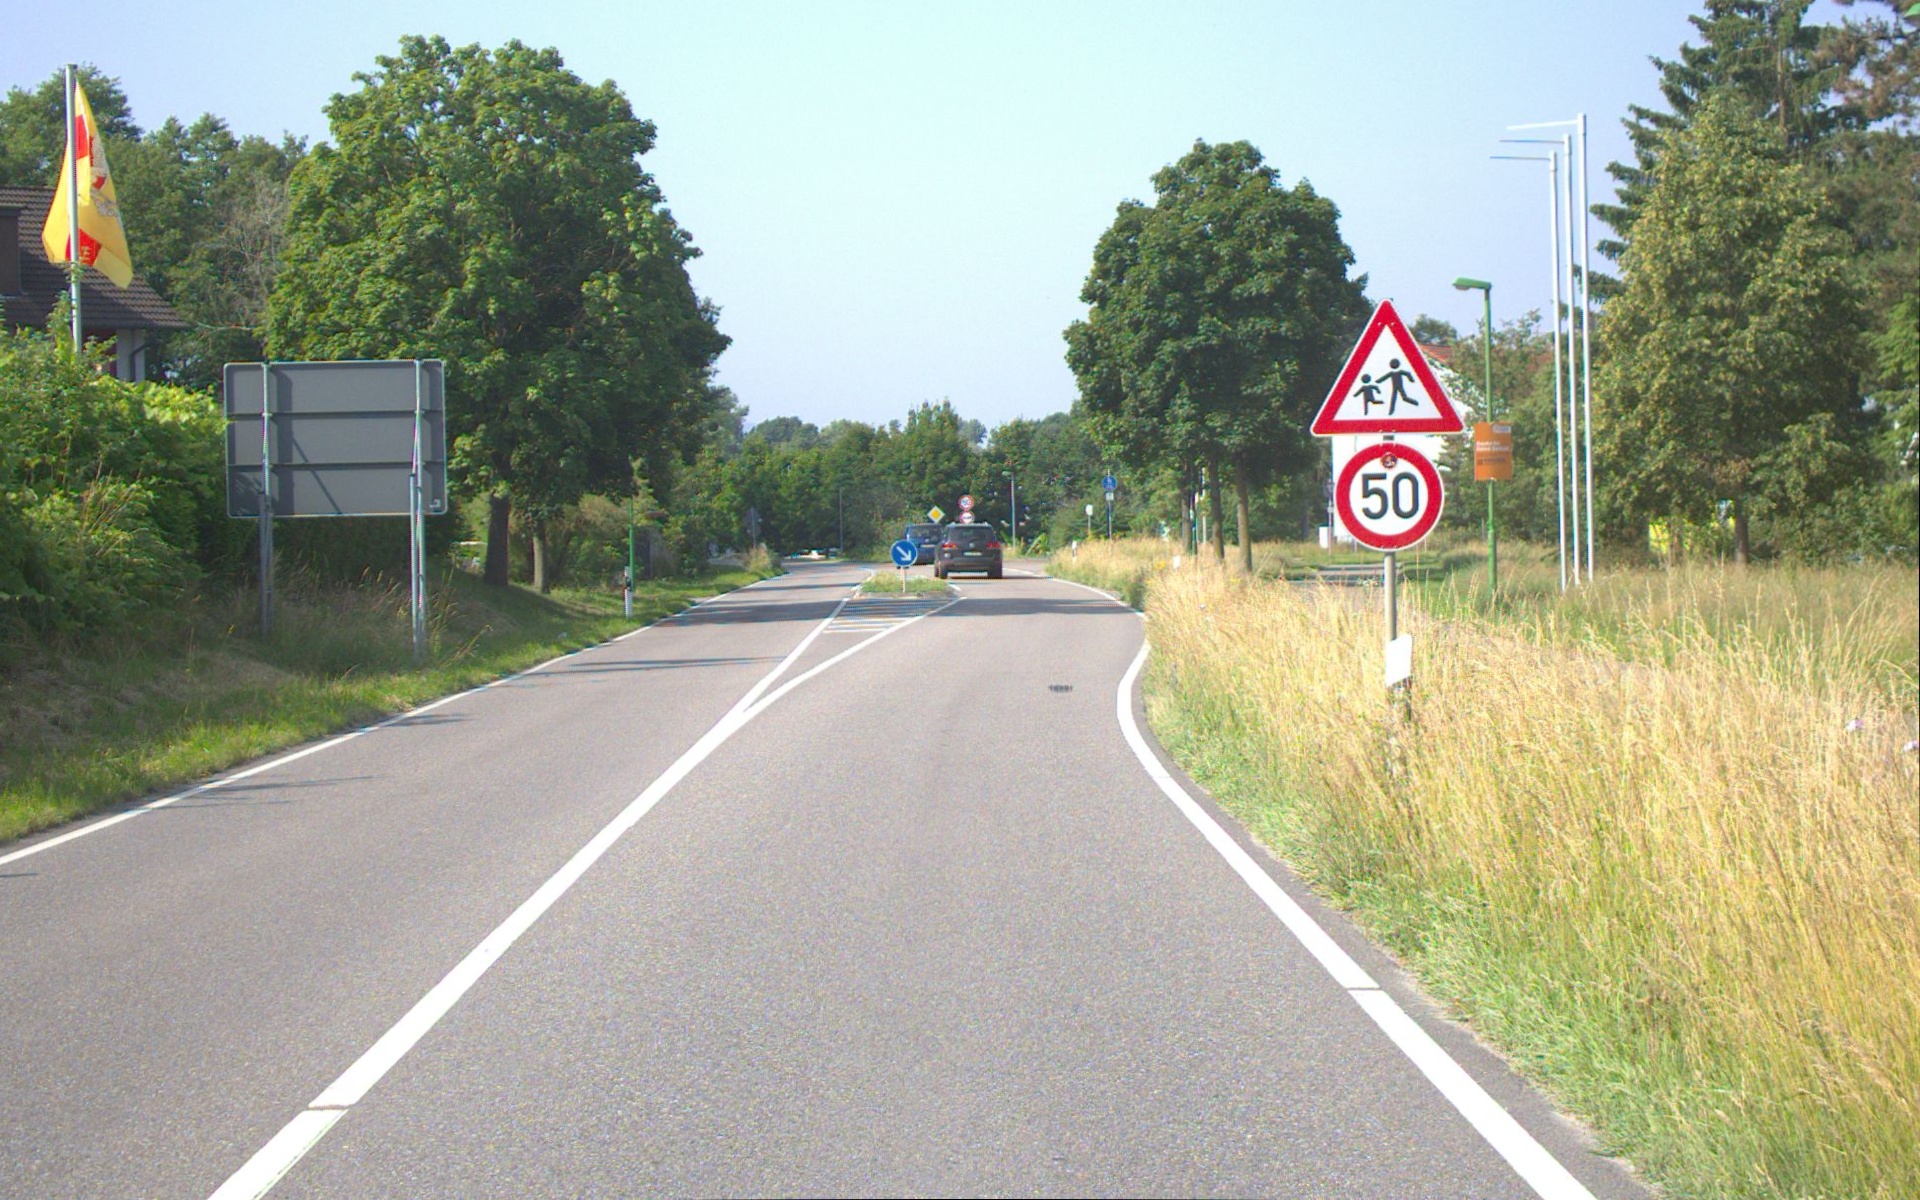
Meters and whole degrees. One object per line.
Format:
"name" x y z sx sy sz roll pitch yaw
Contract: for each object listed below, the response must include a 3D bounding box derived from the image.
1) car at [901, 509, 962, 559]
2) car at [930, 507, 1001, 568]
"car" -1.069 -2.461 127.714 2.004 1.765 4.001 -1 2 -4
"car" 0.151 -1.921 104.694 1.925 1.765 4.001 -1 2 -3
